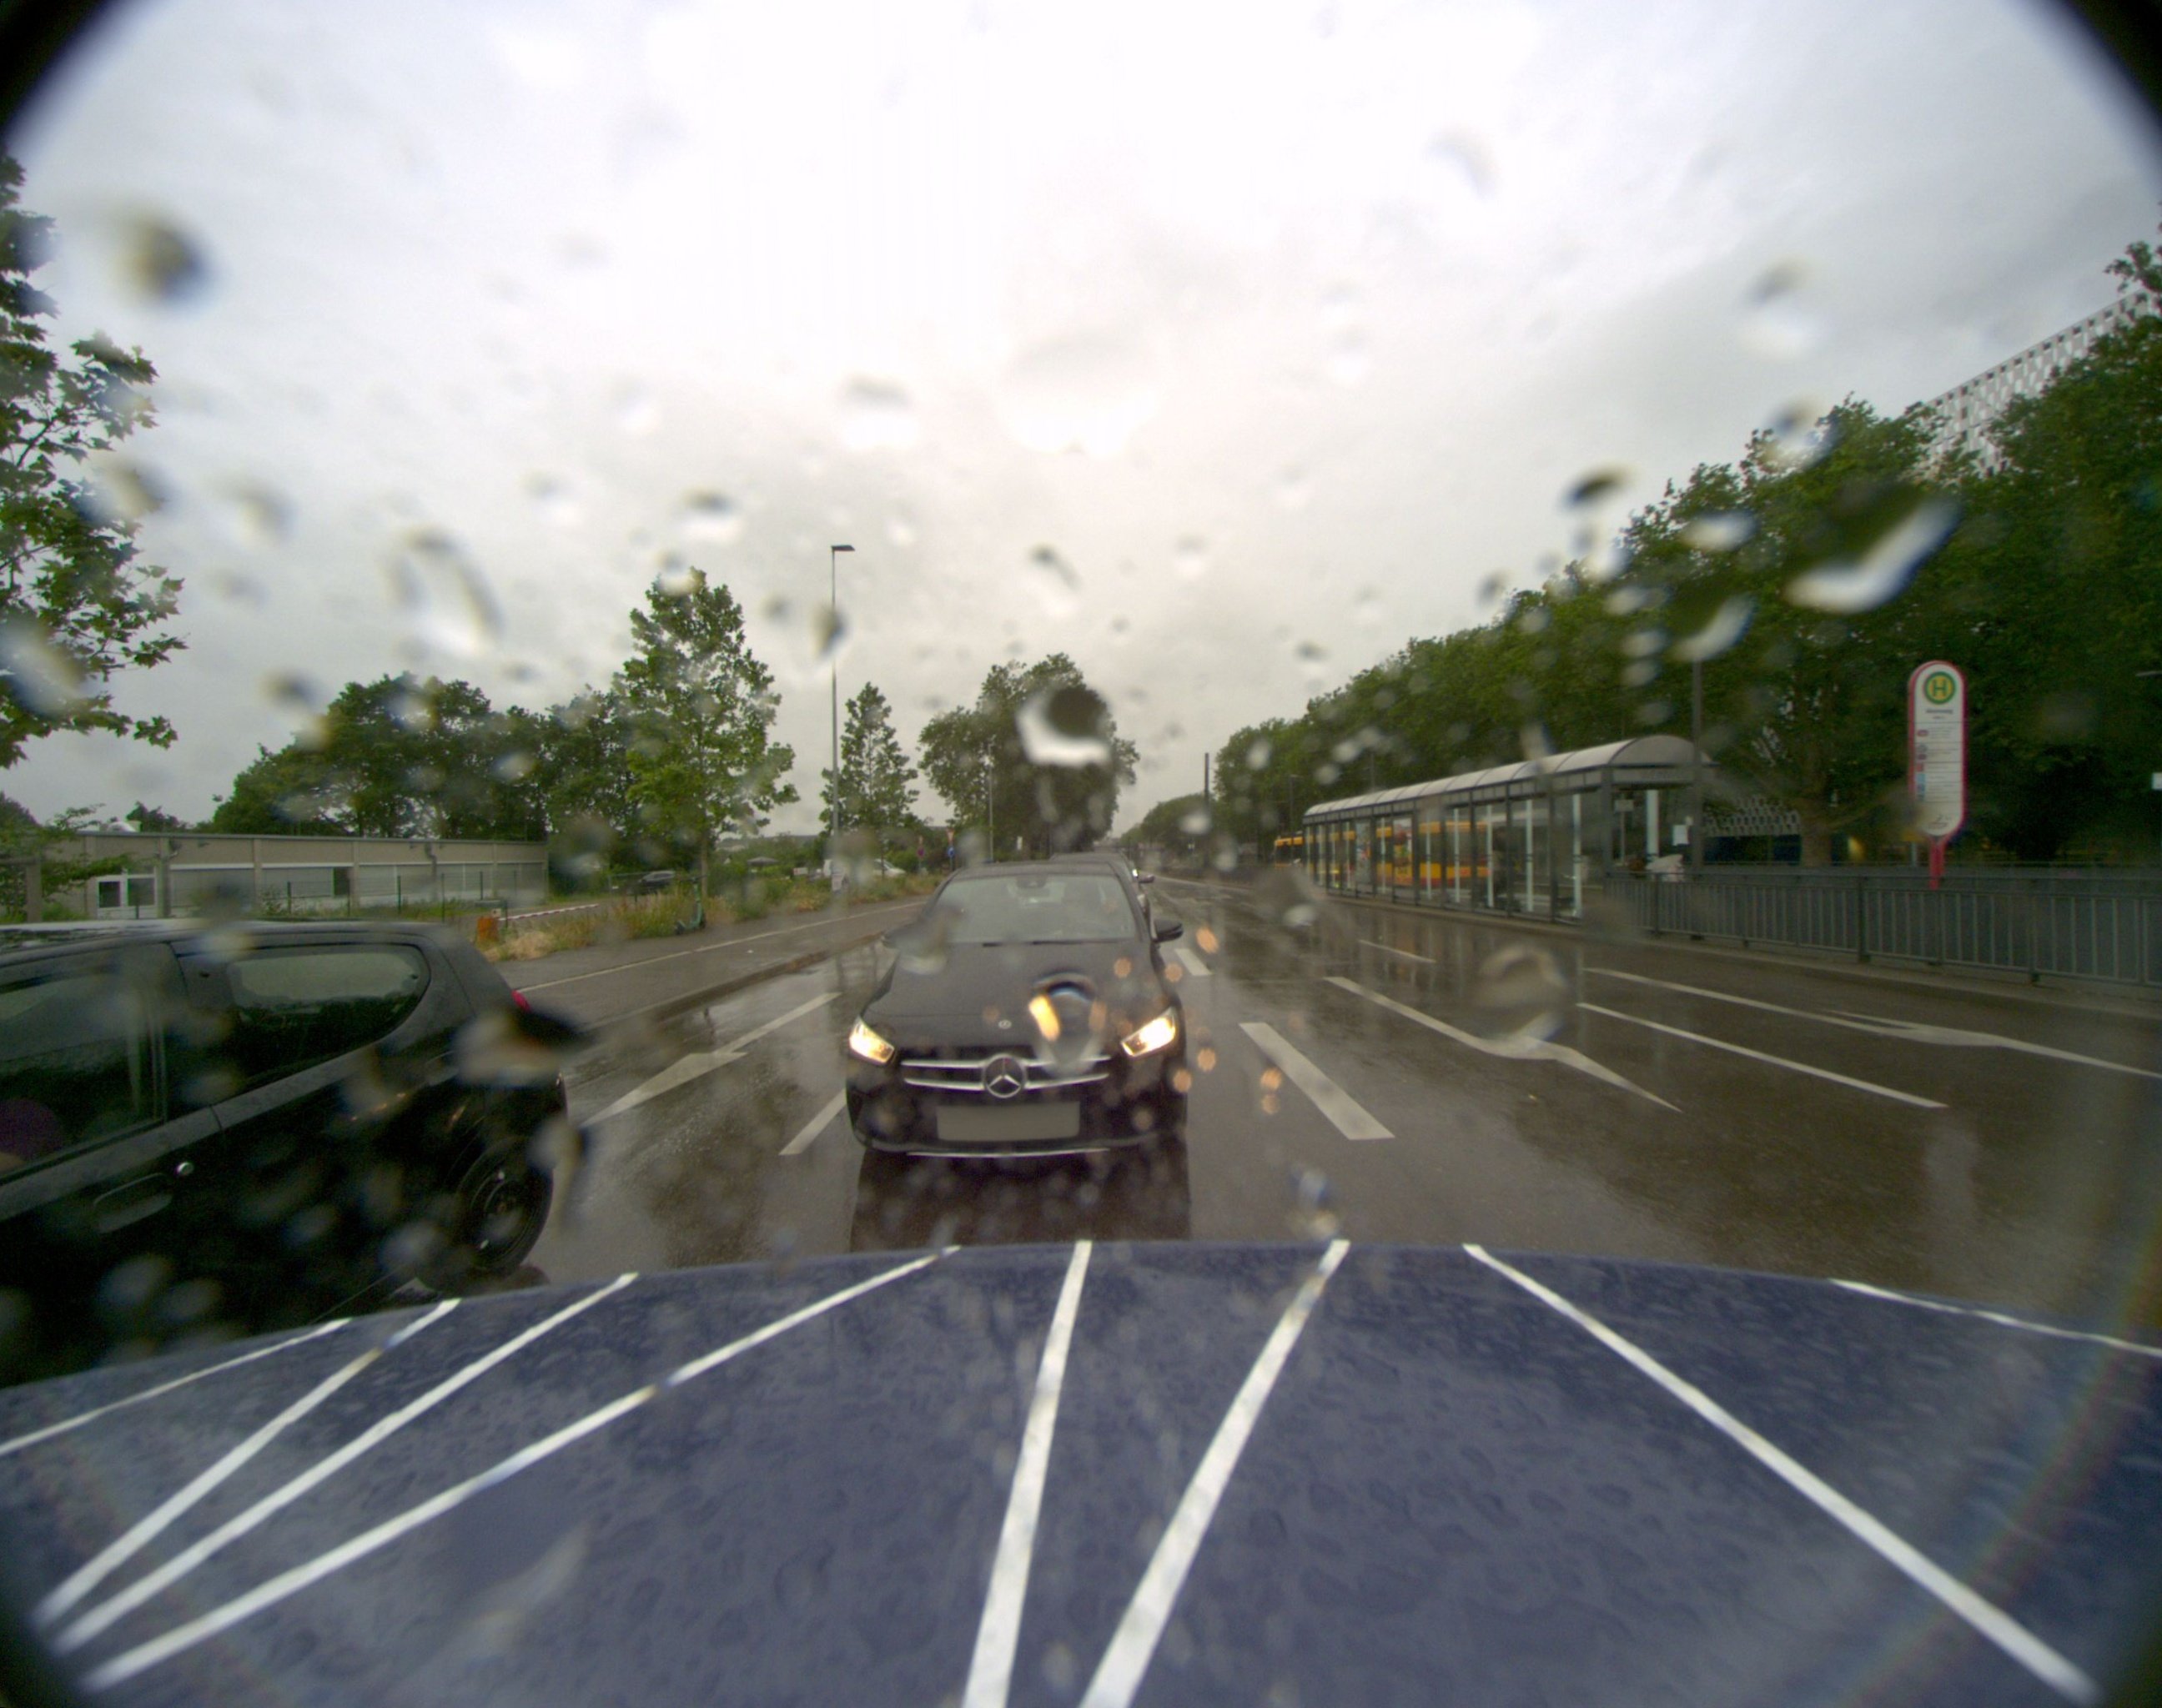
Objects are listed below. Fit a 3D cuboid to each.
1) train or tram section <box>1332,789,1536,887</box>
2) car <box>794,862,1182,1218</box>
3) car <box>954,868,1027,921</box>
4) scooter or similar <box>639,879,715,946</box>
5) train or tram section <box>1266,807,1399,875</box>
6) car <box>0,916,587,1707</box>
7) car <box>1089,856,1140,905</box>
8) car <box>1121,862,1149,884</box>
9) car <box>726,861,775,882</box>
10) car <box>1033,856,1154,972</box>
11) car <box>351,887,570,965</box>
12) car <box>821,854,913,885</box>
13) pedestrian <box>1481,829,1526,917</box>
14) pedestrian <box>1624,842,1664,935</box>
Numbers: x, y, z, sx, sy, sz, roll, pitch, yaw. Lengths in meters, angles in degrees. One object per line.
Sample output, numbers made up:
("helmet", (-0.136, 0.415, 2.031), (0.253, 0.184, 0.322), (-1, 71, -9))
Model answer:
("train or tram section", (16.563, -0.699, 37.503), (3.751, 3.817, 13.253), (-3, 0, 0))
("car", (-0.219, 0.882, 5.552), (1.758, 1.572, 4.171), (-2, 0, 6))
("car", (-2.608, 1.145, 22.640), (1.617, 1.301, 3.717), (-3, 0, 1))
("scooter or similar", (-8.188, 1.157, 15.477), (0.367, 1.192, 1.913), (-2, 1, 4))
("train or tram section", (16.512, -0.812, 51.936), (3.751, 3.777, 15.569), (-3, 0, 0))
("car", (-2.973, 1.035, 1.501), (1.557, 1.500, 3.618), (-2, 0, 1))
("car", (1.137, 0.900, 27.000), (1.557, 1.541, 3.717), (-3, 0, 0))
("car", (3.615, 1.252, 51.181), (1.557, 1.301, 3.717), (-3, 0, 1))
("car", (-28.235, 1.492, 65.011), (3.552, 1.574, 1.345), (-3, 1, 6))
("car", (0.240, 0.860, 12.731), (1.689, 1.611, 4.000), (-1, 0, 2))
("car", (-12.026, 1.377, 14.817), (3.243, 1.281, 1.345), (-3, 1, 6))
("car", (-13.500, 0.976, 48.195), (5.174, 1.715, 2.006), (-3, 1, -1))
("pedestrian", (9.231, 0.411, 16.631), (0.655, 1.860, 0.773), (-2, 1, 17))
("pedestrian", (9.170, 0.551, 12.380), (0.321, 1.485, 0.415), (-3, 2, 6))
